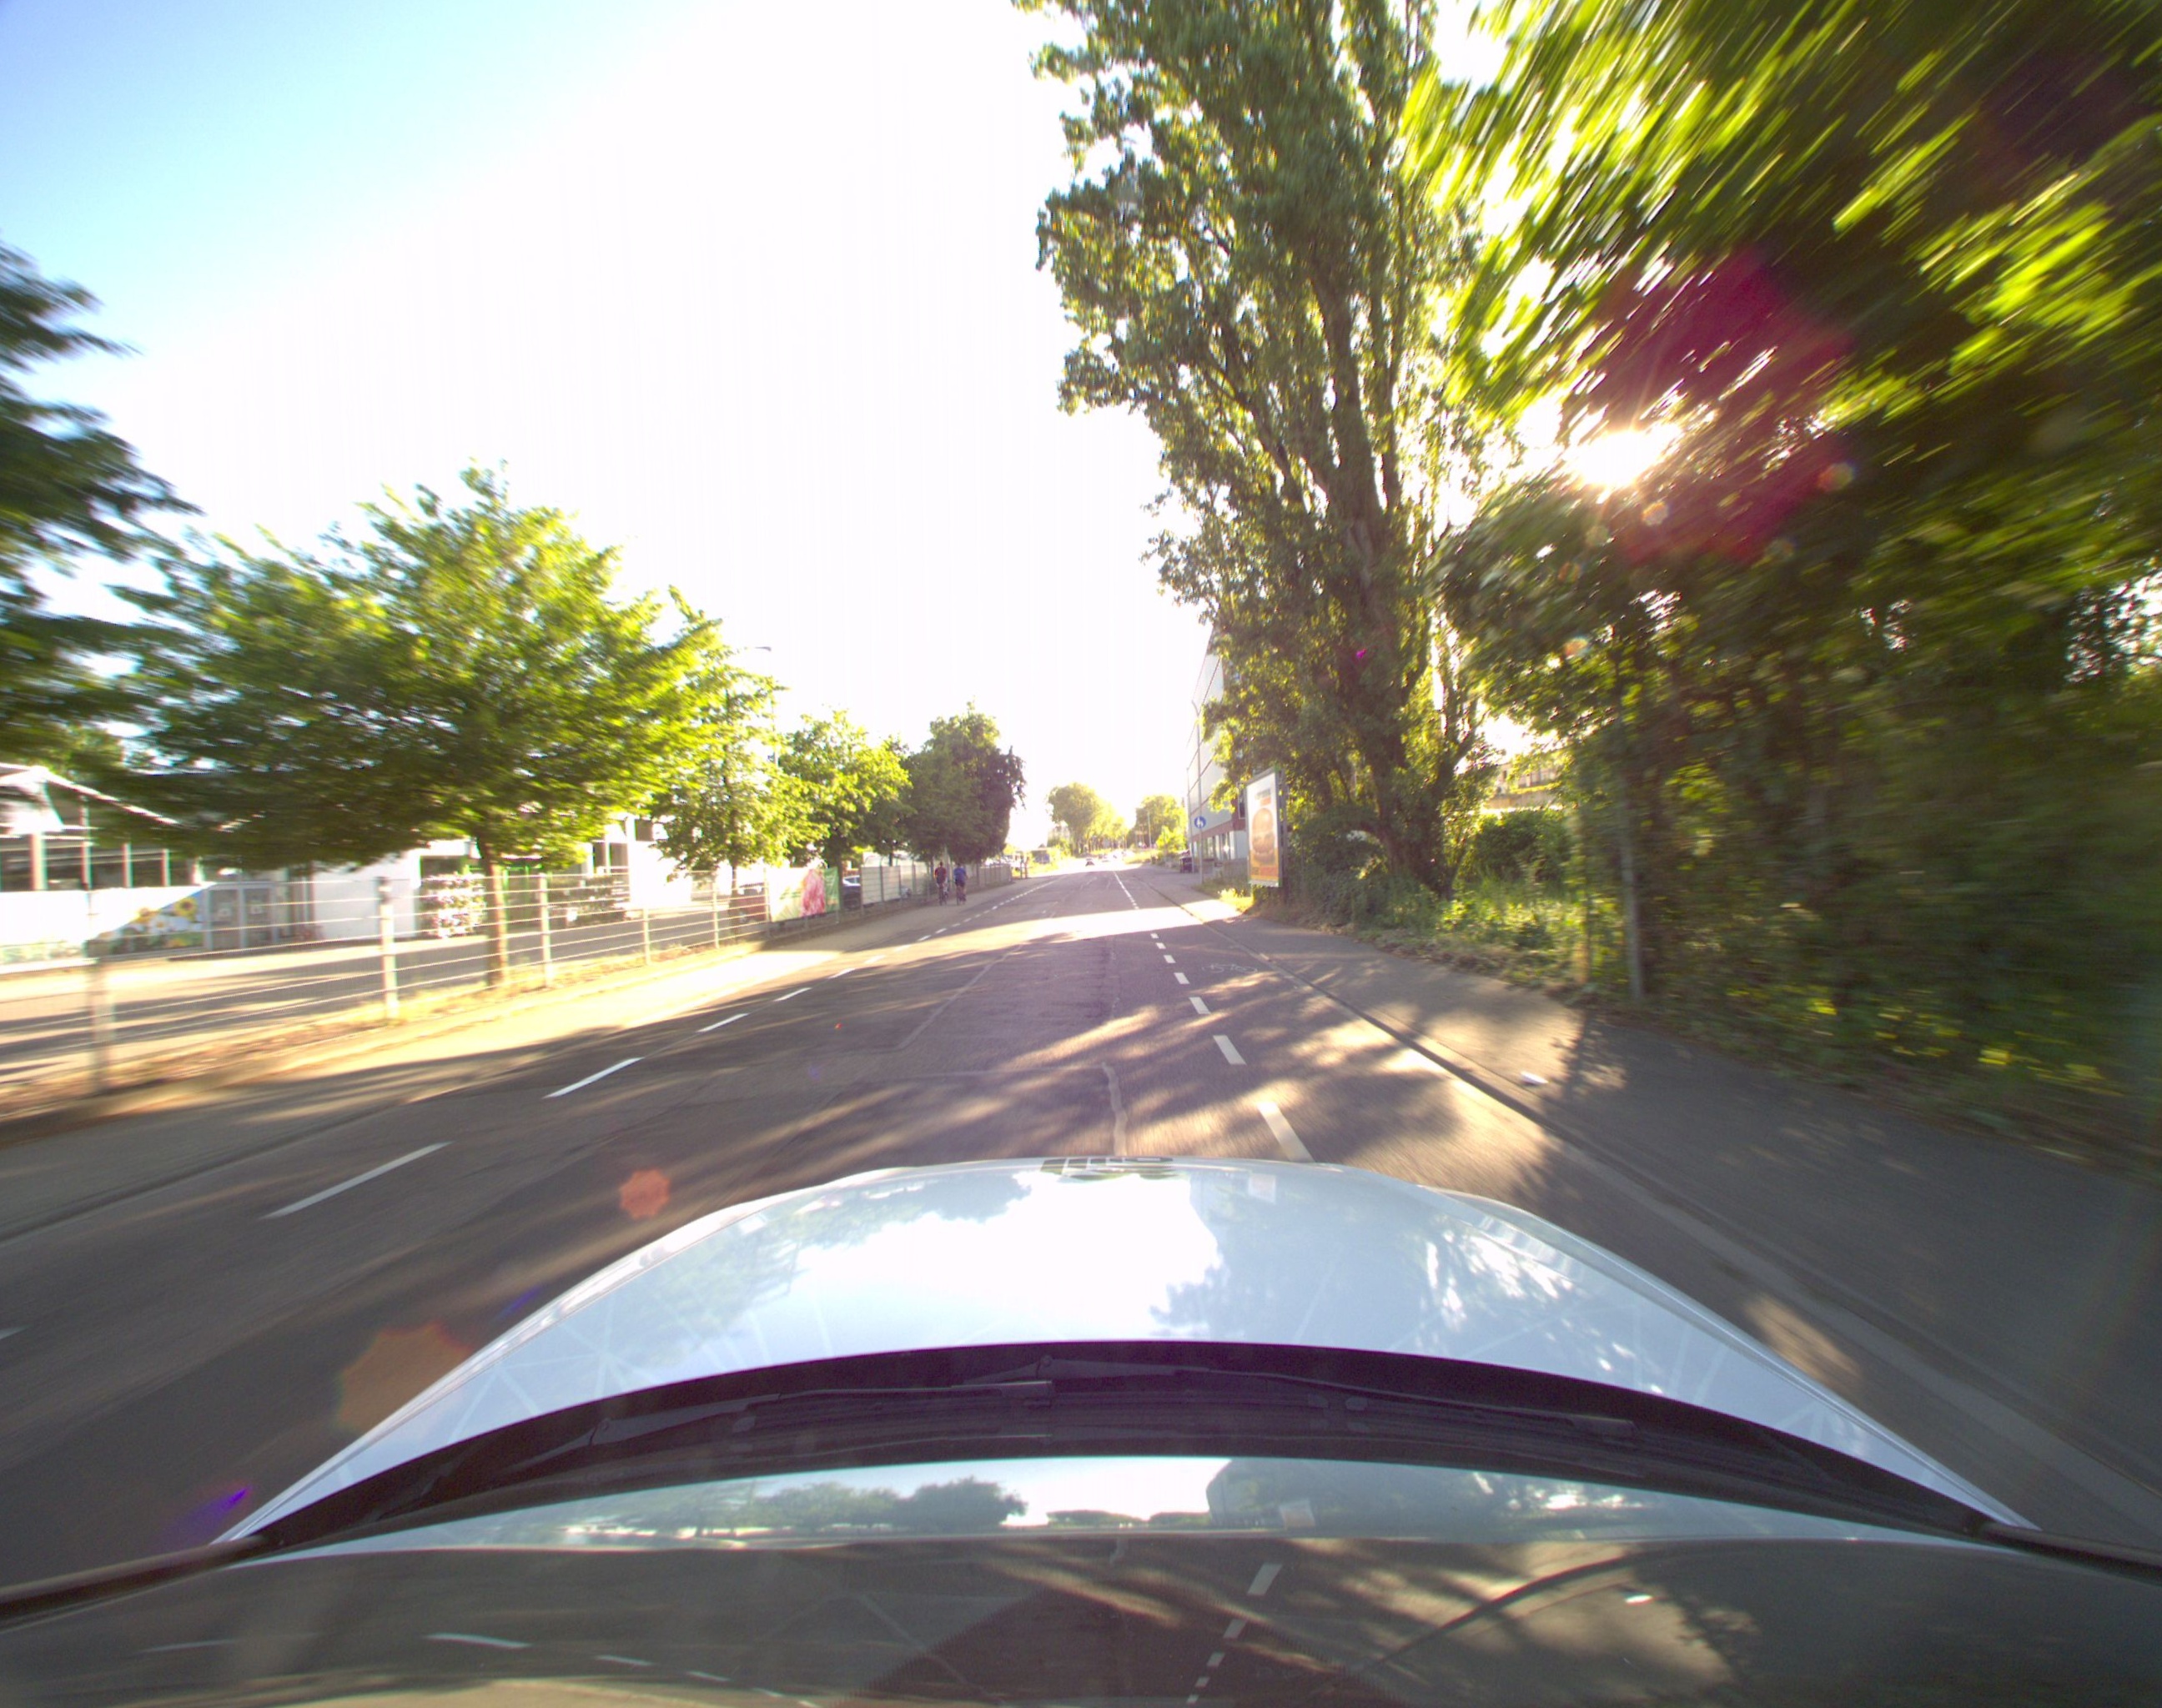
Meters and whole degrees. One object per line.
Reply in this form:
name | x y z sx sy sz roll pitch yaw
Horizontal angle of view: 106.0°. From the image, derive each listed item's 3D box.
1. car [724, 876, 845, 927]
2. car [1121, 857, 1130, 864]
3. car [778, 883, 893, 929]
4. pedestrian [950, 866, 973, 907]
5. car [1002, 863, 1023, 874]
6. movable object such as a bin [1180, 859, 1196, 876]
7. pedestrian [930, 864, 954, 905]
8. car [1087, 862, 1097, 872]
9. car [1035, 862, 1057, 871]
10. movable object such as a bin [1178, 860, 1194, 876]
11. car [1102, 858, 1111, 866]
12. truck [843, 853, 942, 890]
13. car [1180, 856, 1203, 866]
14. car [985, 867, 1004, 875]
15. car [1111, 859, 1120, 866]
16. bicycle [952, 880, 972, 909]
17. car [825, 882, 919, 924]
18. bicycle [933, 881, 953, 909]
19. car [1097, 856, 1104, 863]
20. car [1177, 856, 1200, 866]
car | -10.929 1.735 30.197 3.715 1.451 1.805 -6 -1 -1
car | 11.777 1.617 214.760 2.155 1.684 4.002 -3 -1 2
car | -10.427 2.204 34.836 4.173 1.451 2.052 -6 -1 -1
pedestrian | -5.150 1.382 35.127 0.718 1.721 1.057 -3 -2 2
car | -17.444 3.650 208.508 5.079 2.460 2.320 -3 -1 0
movable object such as a bin | 9.007 1.151 68.697 1.124 1.372 1.345 -3 -1 1
pedestrian | -5.986 1.314 35.135 0.718 1.721 1.057 -3 -2 2
car | 2.044 2.391 150.526 1.735 1.526 4.111 -7 -1 1
car | -8.234 3.014 192.278 4.829 1.835 2.000 -3 -1 0
movable object such as a bin | 9.071 1.185 70.319 1.124 1.336 1.345 -3 -1 1
car | 5.502 1.713 174.073 1.782 1.420 4.003 -2 -1 3
truck | -20.726 1.931 89.909 10.064 3.615 2.775 -2 -2 0
car | 20.506 1.279 151.620 4.164 1.580 1.854 -3 -1 5
car | -19.180 3.694 180.001 3.869 1.603 1.878 -3 -1 0
car | 8.957 2.193 209.324 2.154 1.684 4.003 -3 -1 3
bicycle | -5.131 1.735 35.149 0.444 1.148 2.201 -2 -1 2
car | -9.855 2.289 38.630 3.879 1.511 1.784 -6 -1 -2
bicycle | -5.940 1.768 35.116 0.468 1.148 1.870 -2 -1 2
car | 4.952 1.497 209.879 1.647 1.503 4.003 -4 -2 3
car | 20.924 1.335 158.458 4.164 1.580 1.854 -3 -1 5
